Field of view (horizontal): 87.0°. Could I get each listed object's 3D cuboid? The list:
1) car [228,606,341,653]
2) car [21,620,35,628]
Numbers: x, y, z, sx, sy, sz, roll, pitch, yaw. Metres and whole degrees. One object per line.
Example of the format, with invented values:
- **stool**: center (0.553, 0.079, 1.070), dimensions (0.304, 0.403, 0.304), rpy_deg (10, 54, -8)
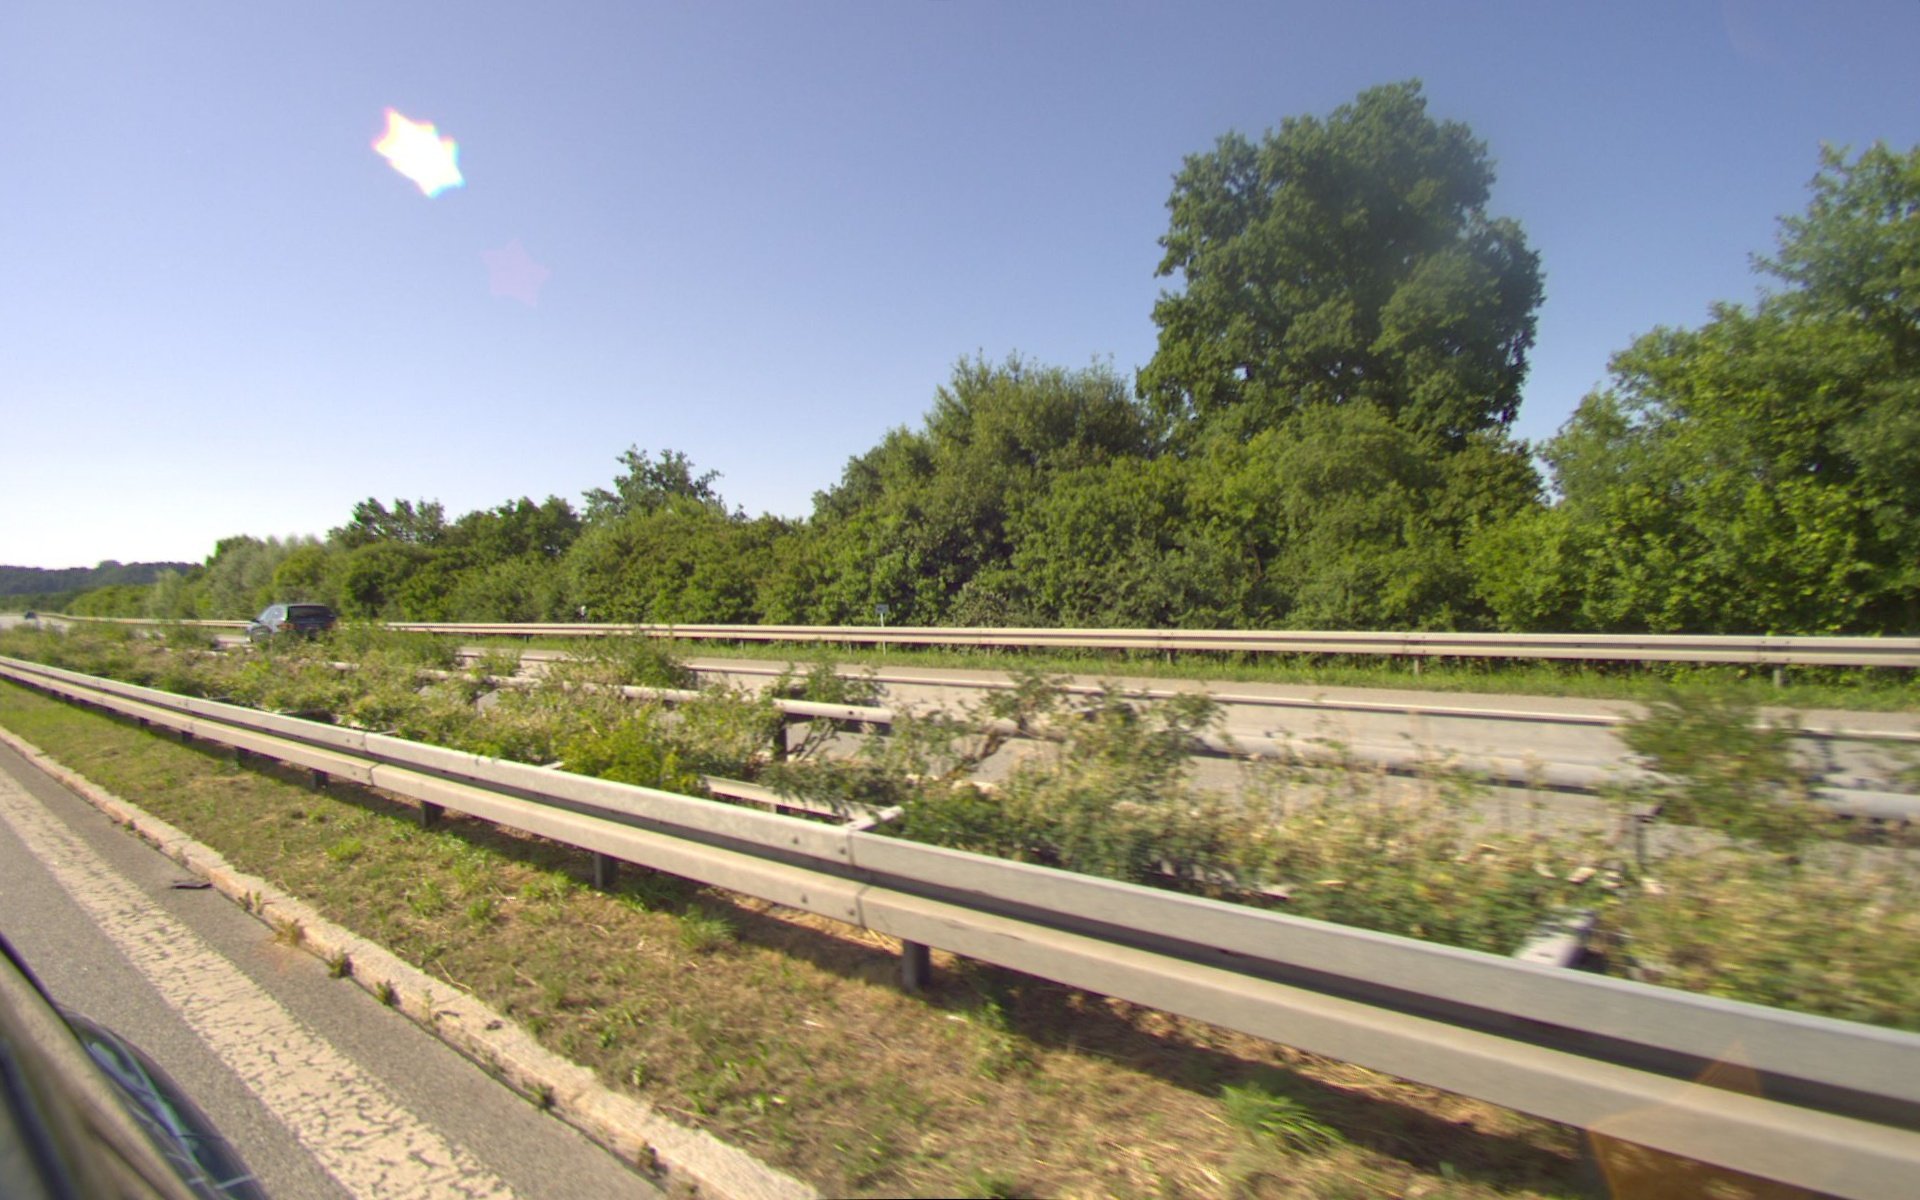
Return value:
- **car**: center (-22.279, 0.951, 33.327), dimensions (4.484, 1.443, 1.973), rpy_deg (-2, -2, 41)
- **car**: center (-166.836, 4.279, 181.240), dimensions (4.002, 1.452, 1.657), rpy_deg (-1, -1, 45)
